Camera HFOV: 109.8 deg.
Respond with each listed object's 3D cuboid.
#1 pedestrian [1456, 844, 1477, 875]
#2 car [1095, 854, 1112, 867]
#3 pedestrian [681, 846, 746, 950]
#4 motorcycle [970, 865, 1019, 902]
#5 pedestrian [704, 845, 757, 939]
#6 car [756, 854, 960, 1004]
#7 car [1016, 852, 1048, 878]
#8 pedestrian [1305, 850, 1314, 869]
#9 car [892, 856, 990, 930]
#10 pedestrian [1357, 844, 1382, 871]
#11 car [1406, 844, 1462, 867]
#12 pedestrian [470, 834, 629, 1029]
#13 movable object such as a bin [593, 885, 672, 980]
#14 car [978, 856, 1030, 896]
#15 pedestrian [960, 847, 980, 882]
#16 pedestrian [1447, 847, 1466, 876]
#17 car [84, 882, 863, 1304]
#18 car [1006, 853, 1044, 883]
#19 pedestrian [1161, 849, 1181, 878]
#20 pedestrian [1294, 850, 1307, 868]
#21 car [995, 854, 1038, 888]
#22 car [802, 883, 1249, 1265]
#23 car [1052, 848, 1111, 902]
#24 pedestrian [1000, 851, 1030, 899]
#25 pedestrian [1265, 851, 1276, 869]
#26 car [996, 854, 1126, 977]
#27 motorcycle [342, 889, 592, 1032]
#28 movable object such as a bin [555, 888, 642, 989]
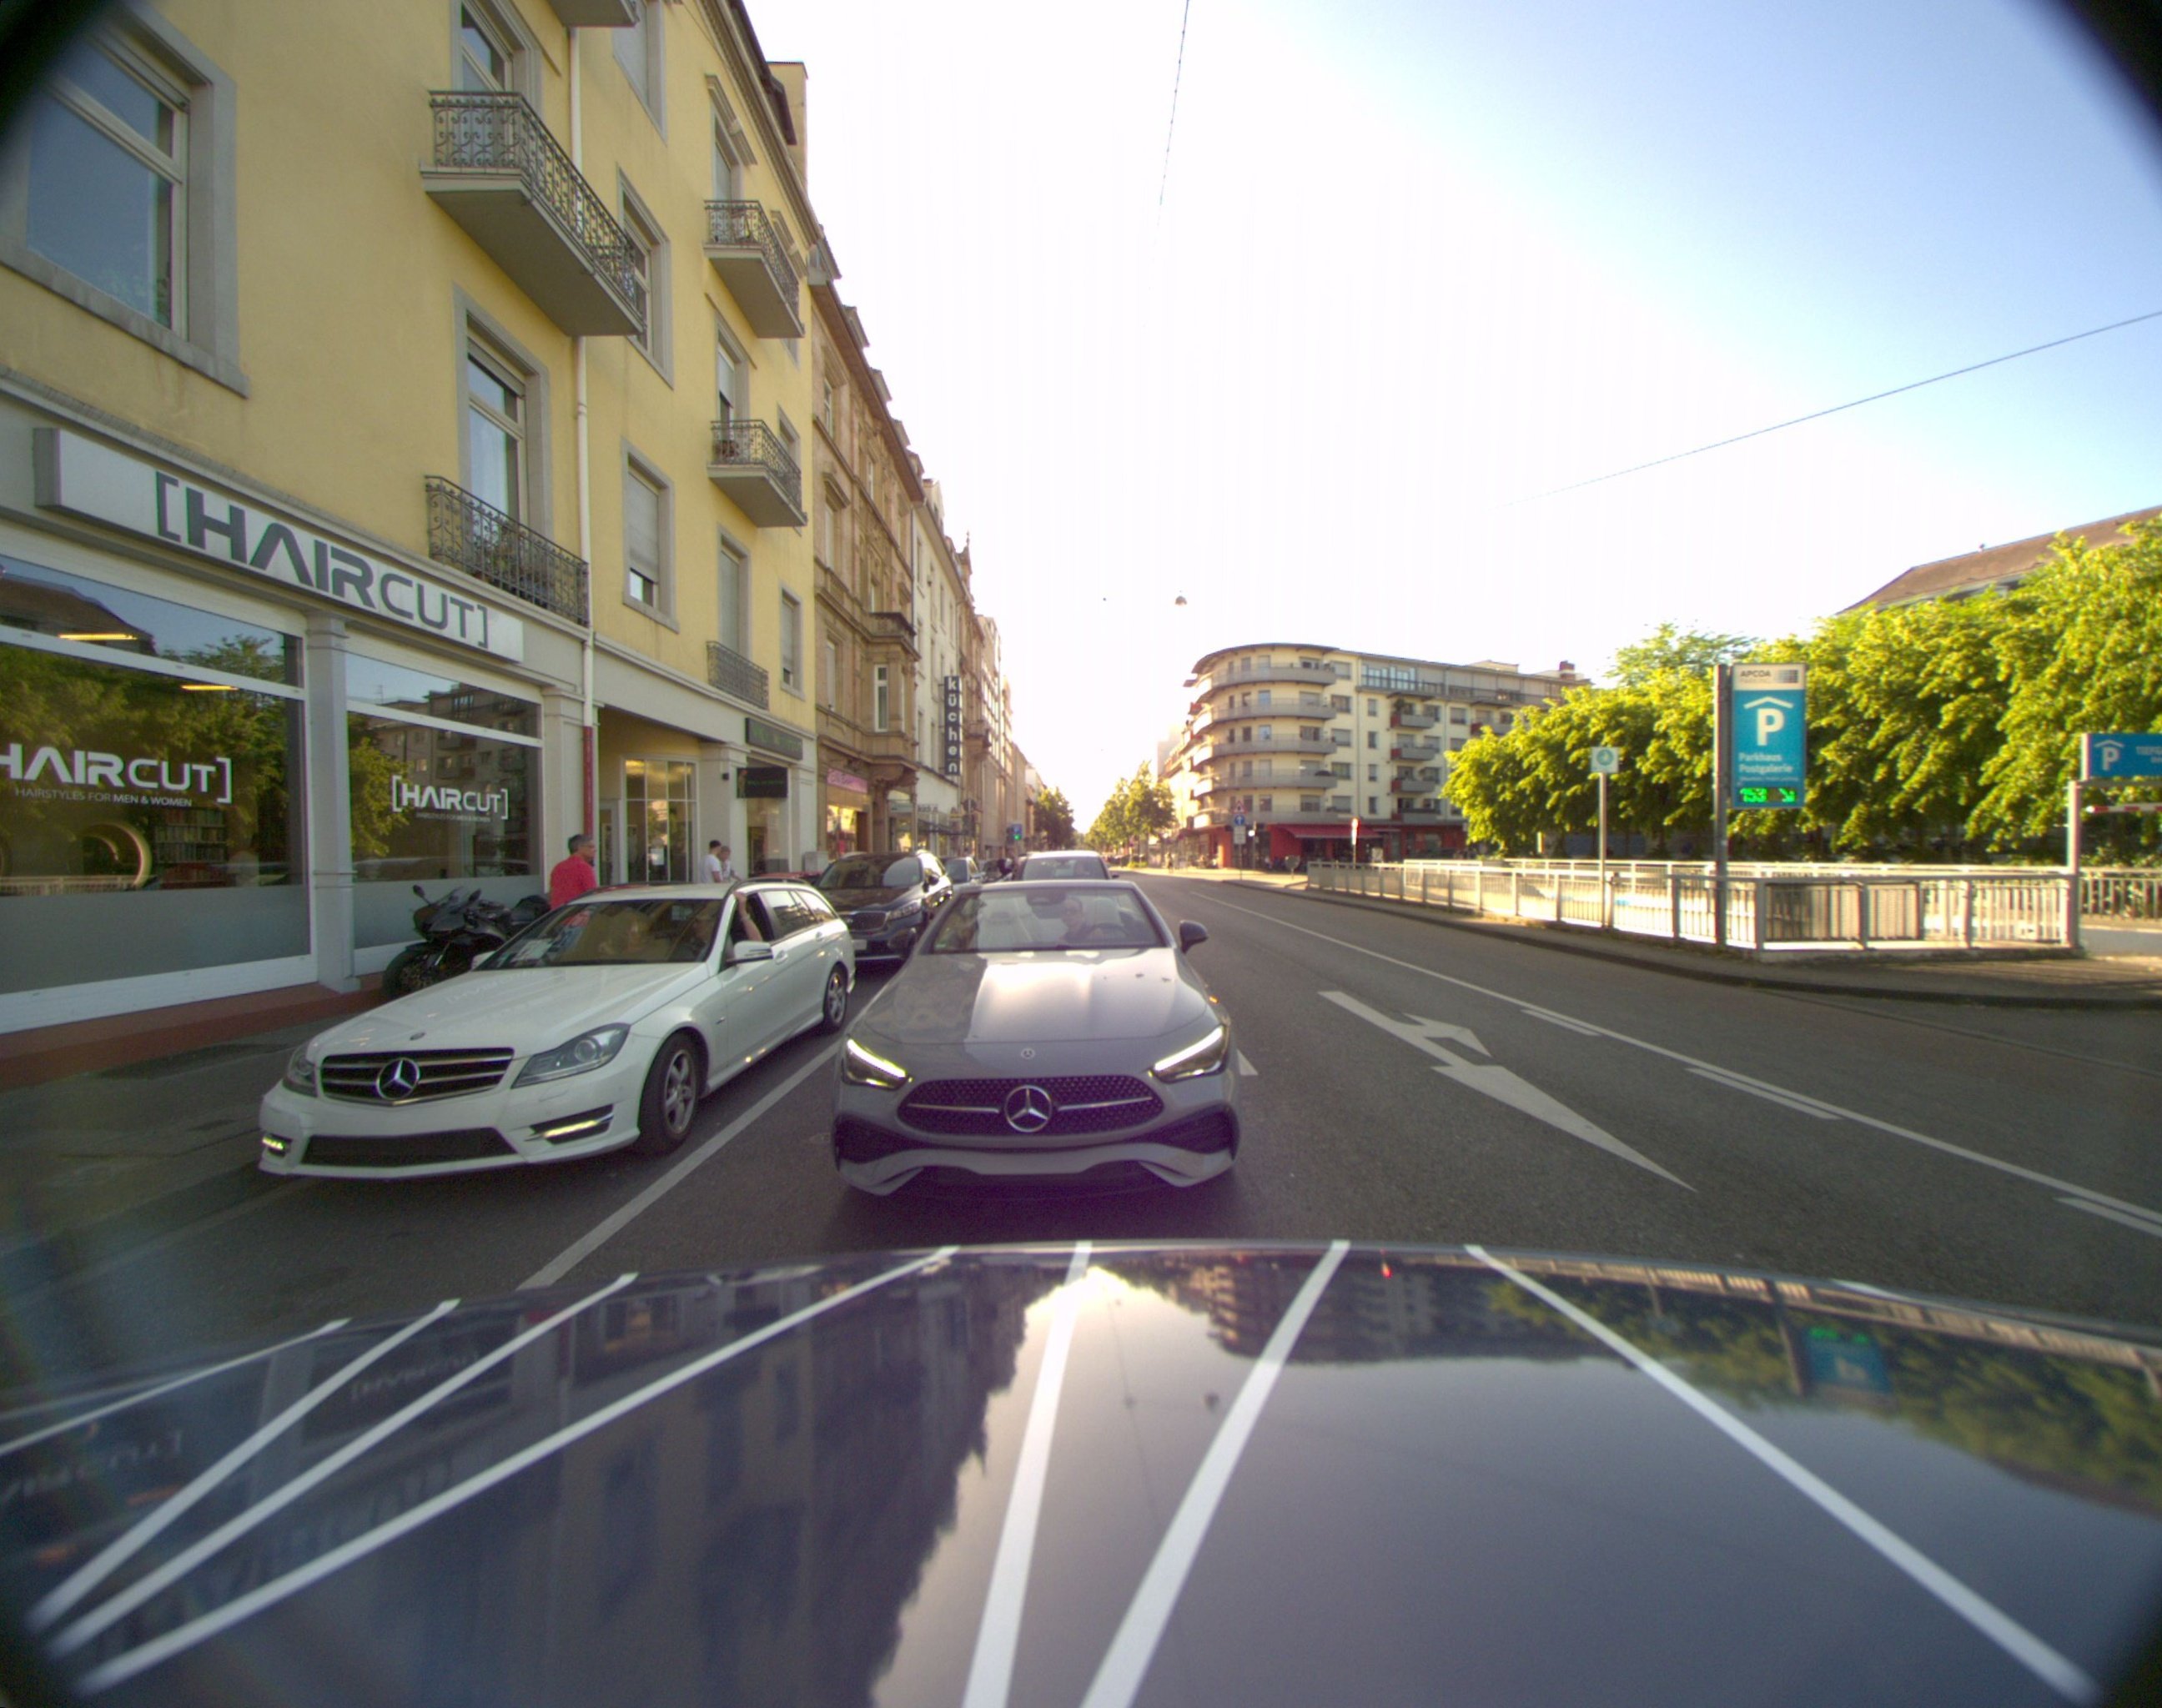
[{"bbox_3d":[23.006,0.311,45.370,0.755,1.795,0.756,-2,1,-15],"label":"pedestrian"},{"bbox_3d":[2.558,0.714,88.135,1.802,1.426,4.250,-1,0,0],"label":"car"},{"bbox_3d":[-5.883,0.692,12.195,0.642,1.607,0.701,-1,1,-1],"label":"pedestrian"},{"bbox_3d":[-3.051,1.028,26.932,0.769,1.225,1.546,-1,1,42],"label":"motorcycle"},{"bbox_3d":[-6.177,0.657,13.406,0.572,1.607,0.643,-1,1,2],"label":"pedestrian"},{"bbox_3d":[-2.991,0.876,11.290,1.858,1.688,4.697,-1,0,-4],"label":"car"},{"bbox_3d":[-3.018,0.661,47.737,1.715,1.477,4.062,-1,0,0],"label":"car"},{"bbox_3d":[17.956,0.423,59.643,0.581,1.481,0.793,-1,1,13],"label":"pedestrian"},{"bbox_3d":[-3.246,0.867,18.203,1.696,1.559,3.018,-1,0,1],"label":"car"},{"bbox_3d":[22.663,0.267,59.711,1.234,2.002,1.259,-2,1,-21],"label":"pedestrian"},{"bbox_3d":[29.040,0.133,62.595,4.004,1.740,1.996,-2,1,-23],"label":"car"},{"bbox_3d":[-5.182,0.713,7.484,0.867,1.774,1.008,2,1,-5],"label":"pedestrian"},{"bbox_3d":[-6.053,1.043,10.284,0.647,1.200,0.644,-1,1,1],"label":"movable object such as a bin"},{"bbox_3d":[-3.066,0.841,30.871,1.715,1.477,3.999,-1,0,0],"label":"car"},{"bbox_3d":[-5.259,0.487,35.987,0.795,1.607,0.763,-1,1,-1],"label":"pedestrian"},{"bbox_3d":[22.318,0.430,45.178,0.674,1.696,0.699,-2,1,-7],"label":"pedestrian"},{"bbox_3d":[-3.074,1.037,5.334,1.759,1.453,4.597,-1,0,0],"label":"car"},{"bbox_3d":[-2.976,0.737,41.142,1.715,1.477,3.999,-1,0,0],"label":"car"},{"bbox_3d":[6.648,0.696,55.948,1.018,2.002,1.202,-2,1,31],"label":"pedestrian"},{"bbox_3d":[17.696,0.401,61.297,0.583,1.453,0.790,-2,1,-37],"label":"pedestrian"},{"bbox_3d":[-3.045,0.789,36.625,1.715,1.477,3.999,-1,0,0],"label":"car"},{"bbox_3d":[-0.252,1.014,5.349,1.849,1.371,4.255,-2,0,-1],"label":"car"},{"bbox_3d":[0.051,0.696,27.506,1.952,1.742,4.000,-1,0,1],"label":"car"},{"bbox_3d":[-2.355,0.726,27.077,0.835,1.657,0.692,-2,1,-23],"label":"pedestrian"},{"bbox_3d":[15.059,0.462,60.415,0.791,1.452,0.583,-1,1,10],"label":"pedestrian"},{"bbox_3d":[-0.245,0.838,12.321,1.716,1.599,4.000,-1,0,1],"label":"car"},{"bbox_3d":[-6.256,1.014,7.970,0.773,1.158,2.247,1,0,1],"label":"motorcycle"},{"bbox_3d":[-6.103,1.053,9.632,0.647,1.200,0.644,-1,1,1],"label":"movable object such as a bin"}]
